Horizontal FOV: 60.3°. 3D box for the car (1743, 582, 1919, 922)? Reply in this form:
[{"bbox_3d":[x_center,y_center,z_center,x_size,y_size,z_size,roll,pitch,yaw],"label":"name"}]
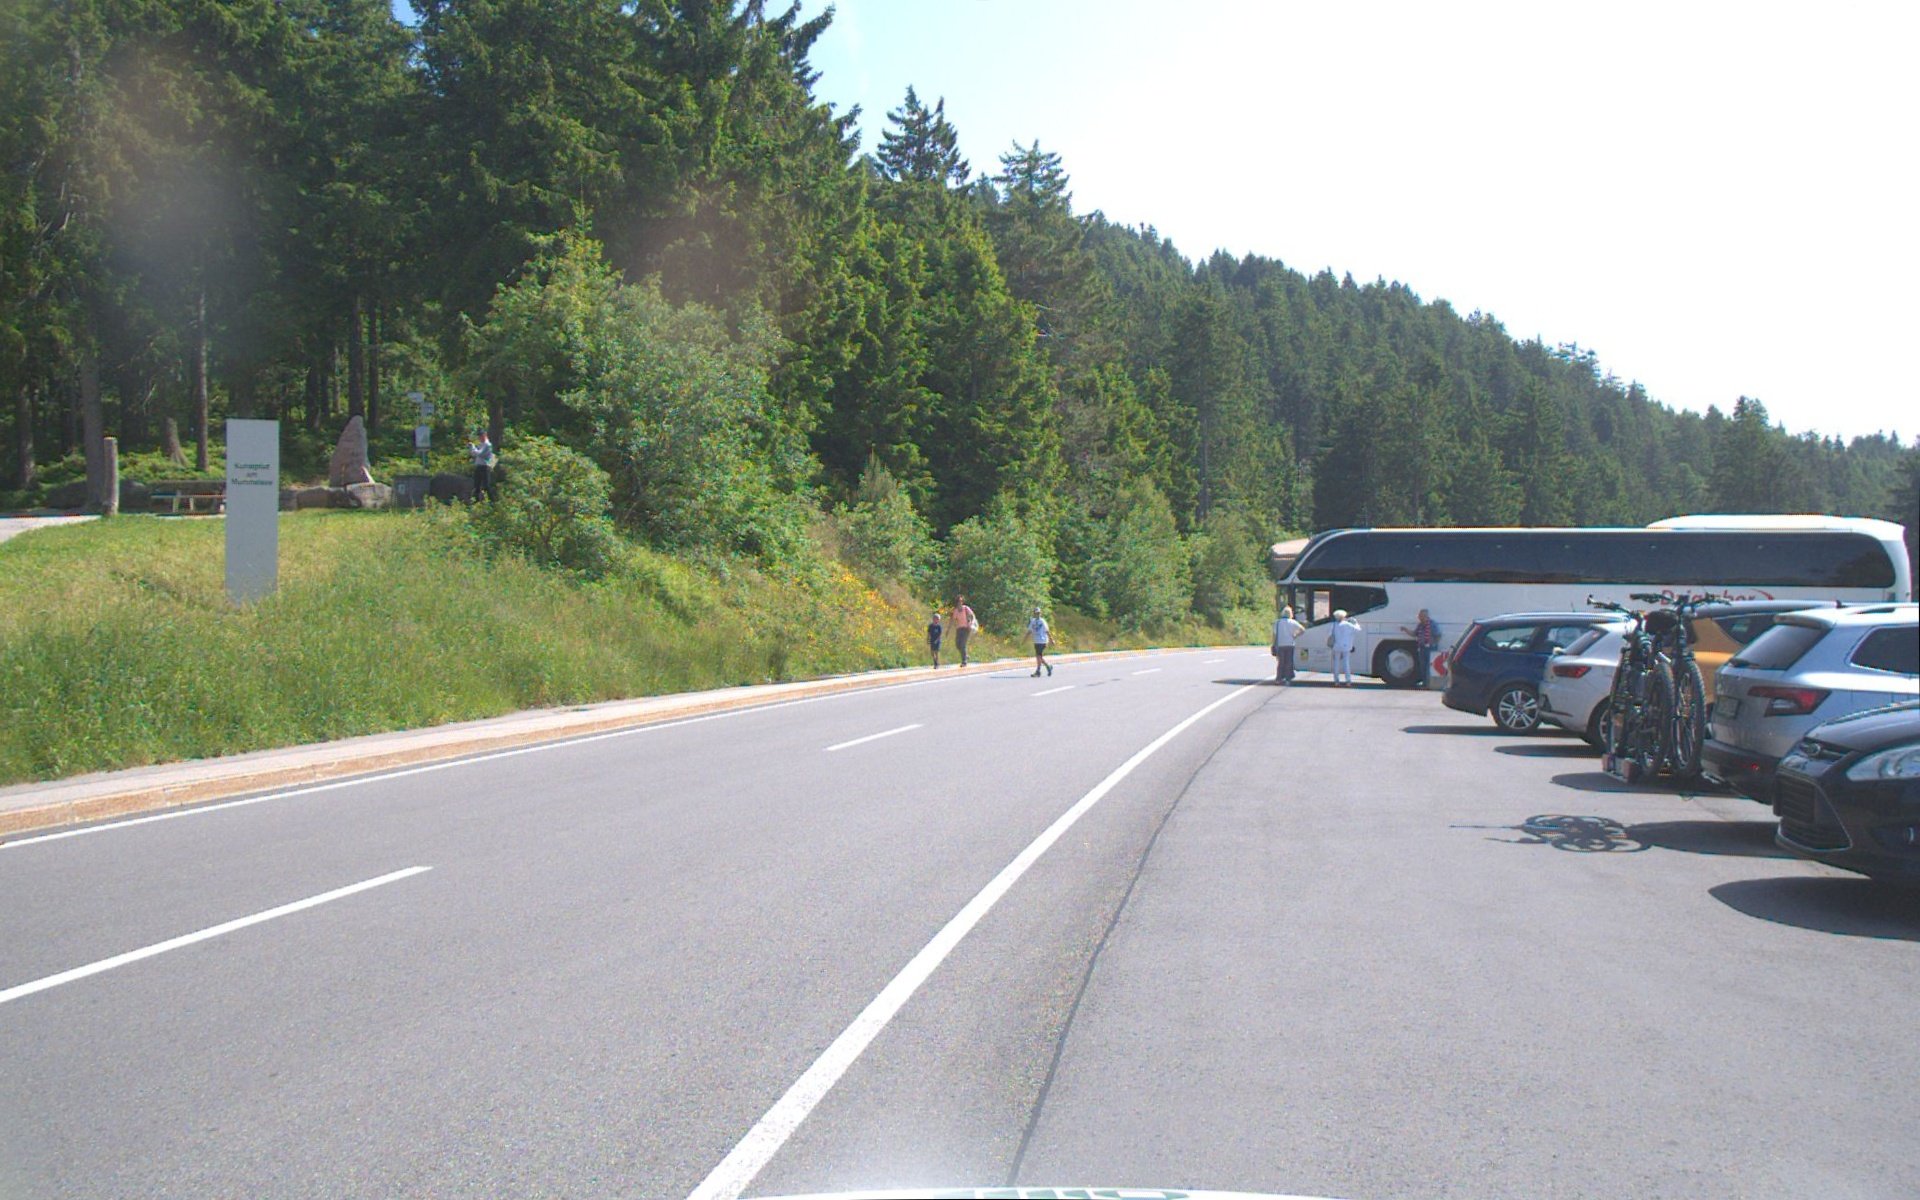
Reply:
[{"bbox_3d":[6.418,0.693,8.291,4.153,1.581,1.840,0,0,10],"label":"car"}]

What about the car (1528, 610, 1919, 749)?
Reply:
[{"bbox_3d":[8.401,0.842,18.138,3.902,1.423,1.621,0,0,10],"label":"car"}]

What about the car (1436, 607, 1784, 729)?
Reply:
[{"bbox_3d":[8.286,0.848,21.424,3.902,1.474,1.863,0,0,10],"label":"car"}]

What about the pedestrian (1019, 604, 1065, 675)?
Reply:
[{"bbox_3d":[1.878,0.906,38.102,0.840,1.613,0.814,0,0,-16],"label":"pedestrian"}]

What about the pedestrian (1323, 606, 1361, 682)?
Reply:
[{"bbox_3d":[8.221,0.944,35.589,0.754,1.613,0.773,0,0,17],"label":"pedestrian"}]

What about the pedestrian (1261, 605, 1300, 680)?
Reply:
[{"bbox_3d":[6.977,0.913,36.008,0.754,1.613,0.773,0,0,17],"label":"pedestrian"}]

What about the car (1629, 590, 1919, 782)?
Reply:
[{"bbox_3d":[8.104,0.710,14.476,3.902,1.581,1.661,0,0,10],"label":"car"}]

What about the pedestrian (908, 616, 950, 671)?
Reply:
[{"bbox_3d":[-0.747,1.045,39.848,0.765,1.302,0.735,-1,0,26],"label":"pedestrian"}]

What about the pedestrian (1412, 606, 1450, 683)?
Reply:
[{"bbox_3d":[10.081,0.948,35.381,0.754,1.613,0.773,-1,0,18],"label":"pedestrian"}]

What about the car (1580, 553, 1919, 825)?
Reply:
[{"bbox_3d":[6.946,0.542,11.069,4.926,1.680,2.050,0,0,10],"label":"car"}]

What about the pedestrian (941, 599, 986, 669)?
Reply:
[{"bbox_3d":[0.096,0.837,40.817,0.849,1.713,0.856,-1,0,22],"label":"pedestrian"}]

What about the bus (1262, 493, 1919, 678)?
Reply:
[{"bbox_3d":[13.244,-0.236,35.864,12.822,3.594,3.044,0,0,20],"label":"bus"}]

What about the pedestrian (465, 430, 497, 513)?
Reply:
[{"bbox_3d":[-11.258,-3.018,38.871,0.670,1.911,0.539,-1,0,-18],"label":"pedestrian"}]
